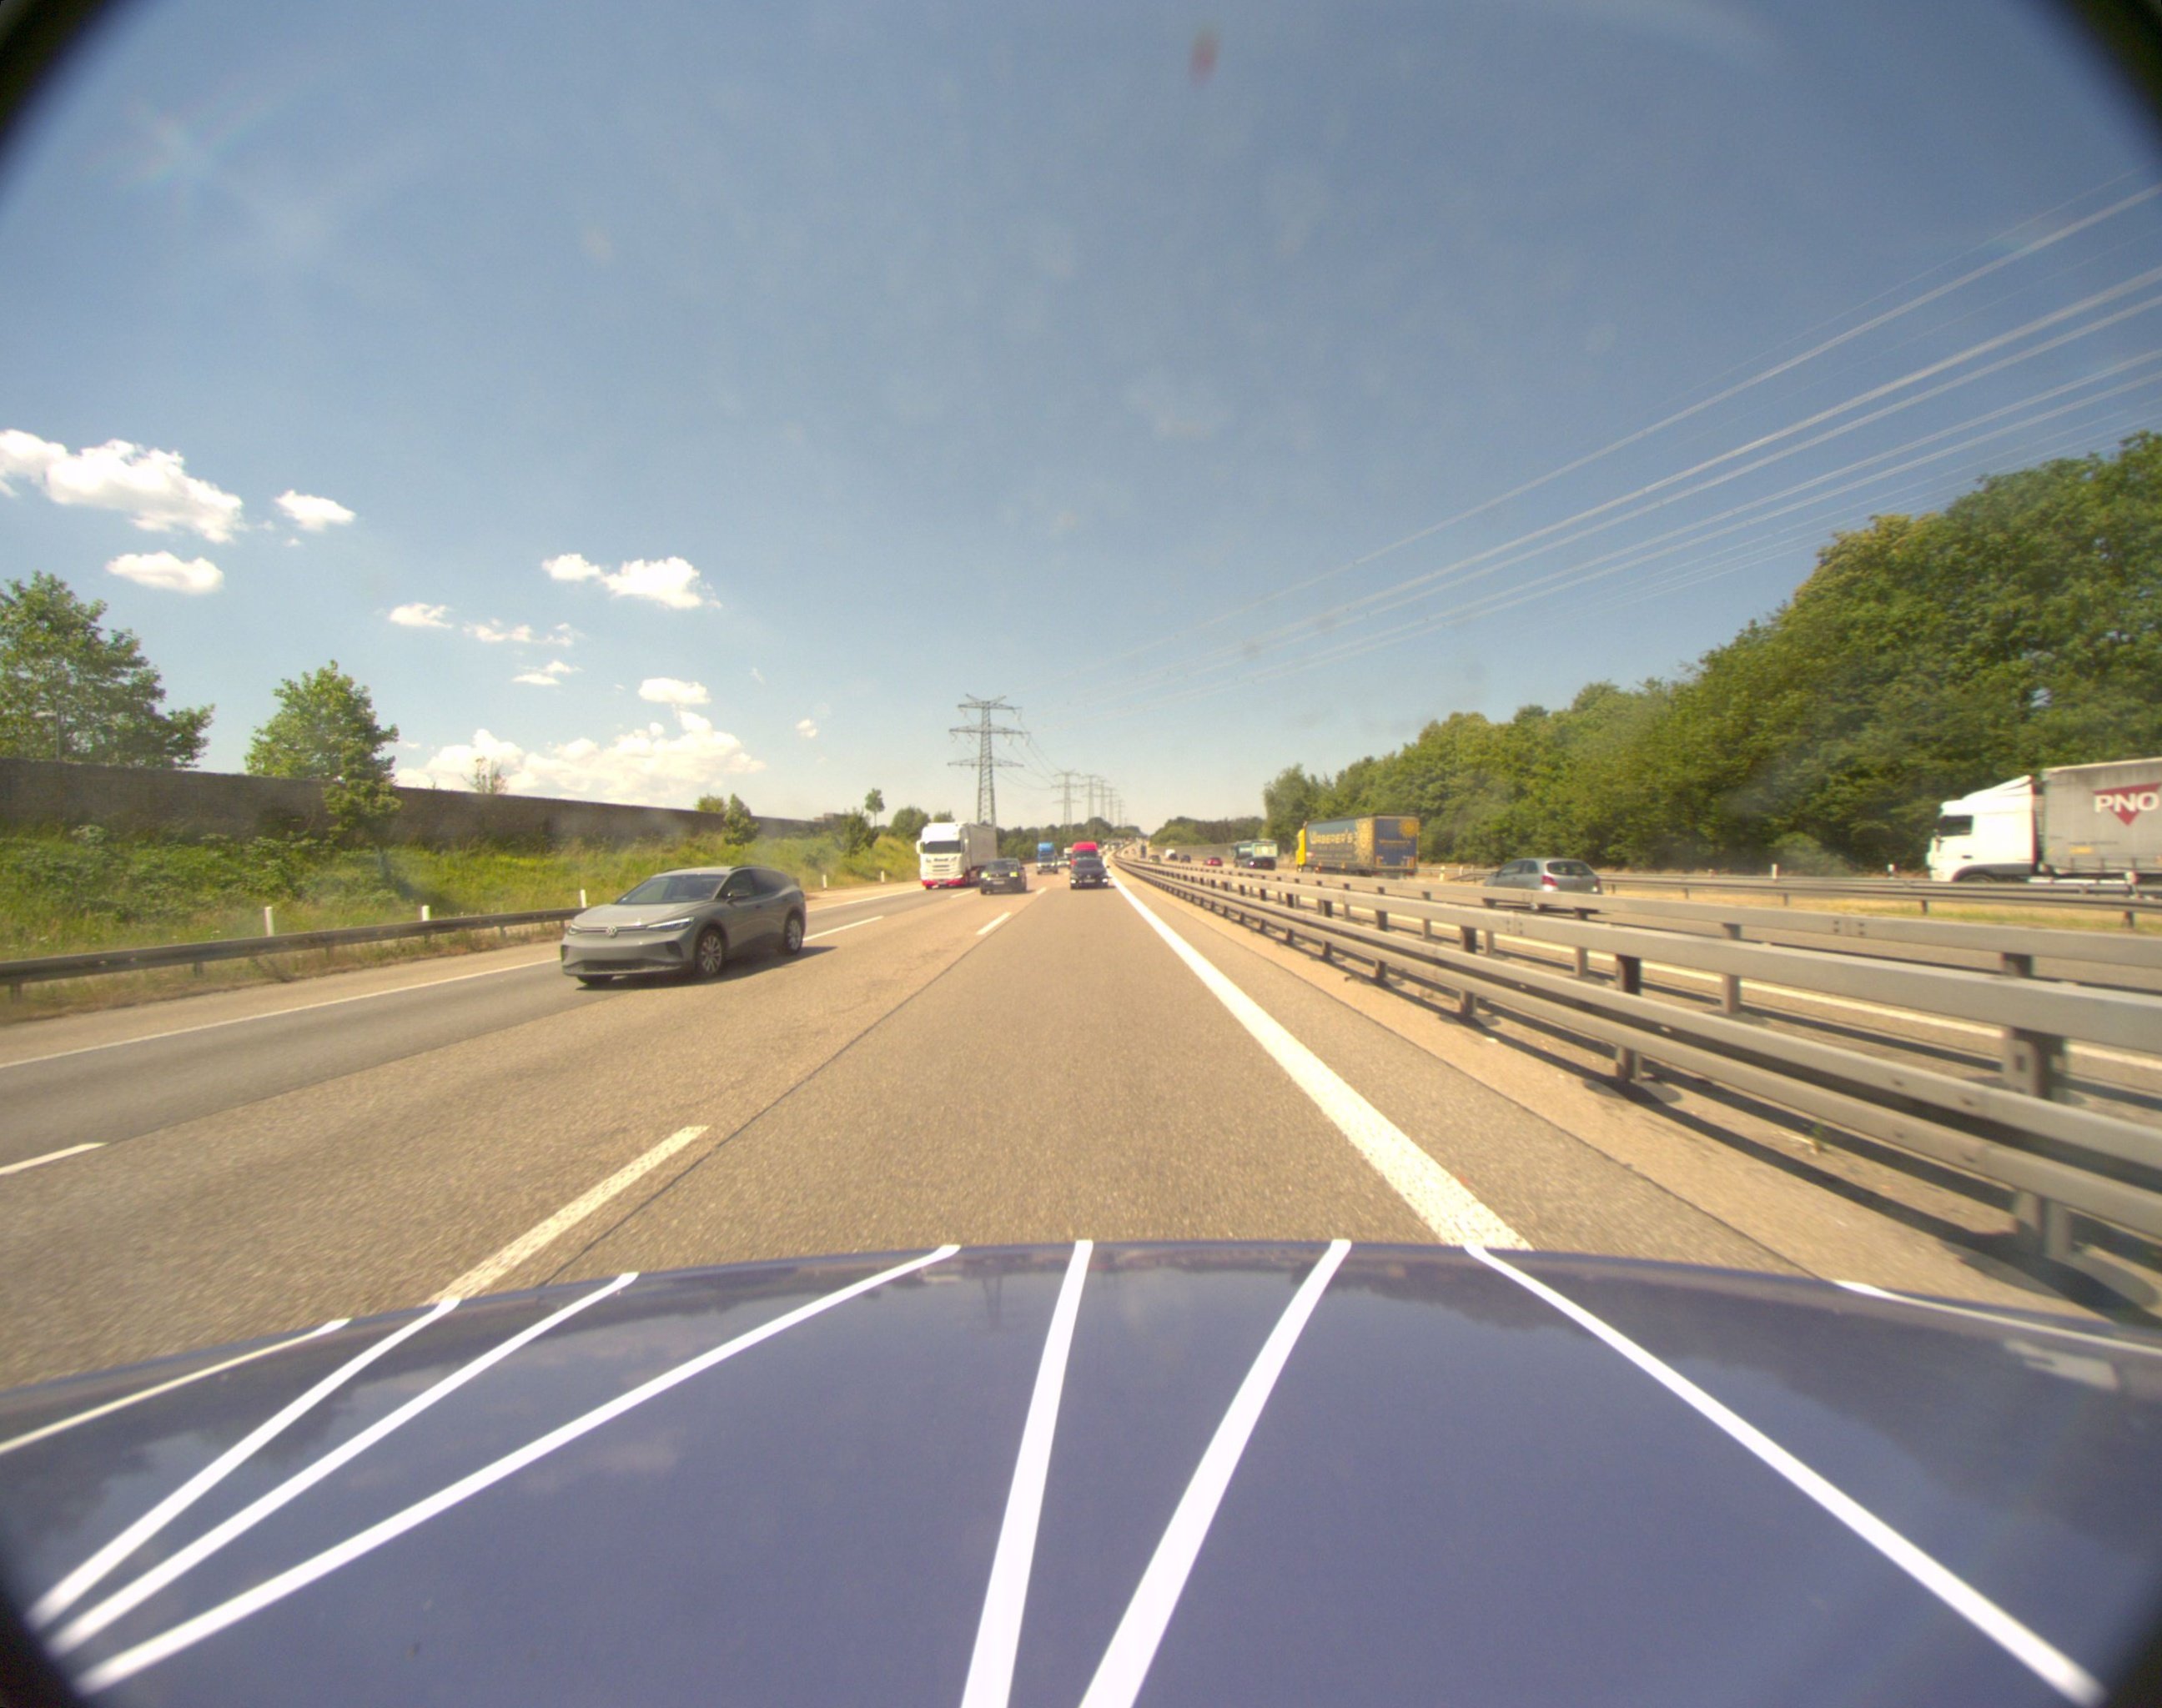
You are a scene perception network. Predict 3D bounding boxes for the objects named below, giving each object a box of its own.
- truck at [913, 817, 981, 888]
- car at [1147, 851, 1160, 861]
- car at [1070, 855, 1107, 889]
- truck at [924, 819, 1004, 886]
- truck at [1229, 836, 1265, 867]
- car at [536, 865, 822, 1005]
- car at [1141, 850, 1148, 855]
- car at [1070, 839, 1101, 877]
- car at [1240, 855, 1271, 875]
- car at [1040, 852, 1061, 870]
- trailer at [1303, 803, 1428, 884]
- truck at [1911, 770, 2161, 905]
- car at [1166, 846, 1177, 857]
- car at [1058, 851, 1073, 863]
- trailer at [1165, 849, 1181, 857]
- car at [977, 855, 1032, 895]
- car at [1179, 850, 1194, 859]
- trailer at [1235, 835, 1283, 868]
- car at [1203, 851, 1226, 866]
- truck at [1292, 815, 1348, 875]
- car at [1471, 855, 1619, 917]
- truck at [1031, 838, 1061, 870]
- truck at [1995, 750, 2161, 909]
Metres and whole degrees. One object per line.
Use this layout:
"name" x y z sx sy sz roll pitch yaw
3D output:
"truck" -7.836 -0.103 44.934 3.076 3.885 3.847 -3 0 1
"car" 11.553 0.346 121.605 1.786 1.615 4.000 -1 0 1
"car" 0.392 0.860 37.344 1.735 1.535 3.750 0 0 1
"truck" -7.666 -0.127 51.944 3.076 3.885 12.504 -3 0 1
"truck" 18.757 -0.281 86.035 2.921 3.281 5.331 -1 0 1
"car" -5.979 1.087 12.099 1.872 1.627 4.586 -3 0 3
"car" 20.181 -0.383 241.128 1.786 1.465 4.355 2 0 2
"car" 0.362 0.265 53.687 2.100 2.598 4.496 -1 0 2
"car" 13.943 0.839 60.907 1.716 1.460 4.147 1 0 2
"car" -2.886 0.649 72.528 1.749 1.691 4.088 -1 0 2
"trailer" 17.426 -0.592 48.074 3.182 4.316 13.814 -1 0 2
"truck" 30.293 -0.410 24.110 2.953 3.871 4.323 -1 -2 -8
"car" 22.139 -0.688 185.693 2.114 2.624 6.004 0 0 1
"car" -2.171 0.441 105.562 1.879 1.591 3.688 -1 0 2
"trailer" 21.728 -0.277 179.263 2.772 1.934 6.722 1 0 -1
"car" -3.507 0.919 35.565 1.955 1.636 4.047 -3 0 2
"car" 20.508 0.049 147.759 2.163 1.789 4.512 1 0 -1
"trailer" 18.661 -0.241 80.478 2.921 3.281 9.710 -1 0 1
"car" 14.805 0.484 84.384 1.786 1.521 4.384 2 0 0
"truck" 17.788 -0.638 56.755 3.182 4.316 3.513 -1 1 2
"car" 12.974 0.833 21.560 1.786 1.521 3.883 2 0 0
"truck" -5.944 -0.062 132.470 3.797 4.970 14.924 -3 0 2
"truck" 31.261 -0.828 16.873 3.005 4.314 14.541 -1 -2 -7
